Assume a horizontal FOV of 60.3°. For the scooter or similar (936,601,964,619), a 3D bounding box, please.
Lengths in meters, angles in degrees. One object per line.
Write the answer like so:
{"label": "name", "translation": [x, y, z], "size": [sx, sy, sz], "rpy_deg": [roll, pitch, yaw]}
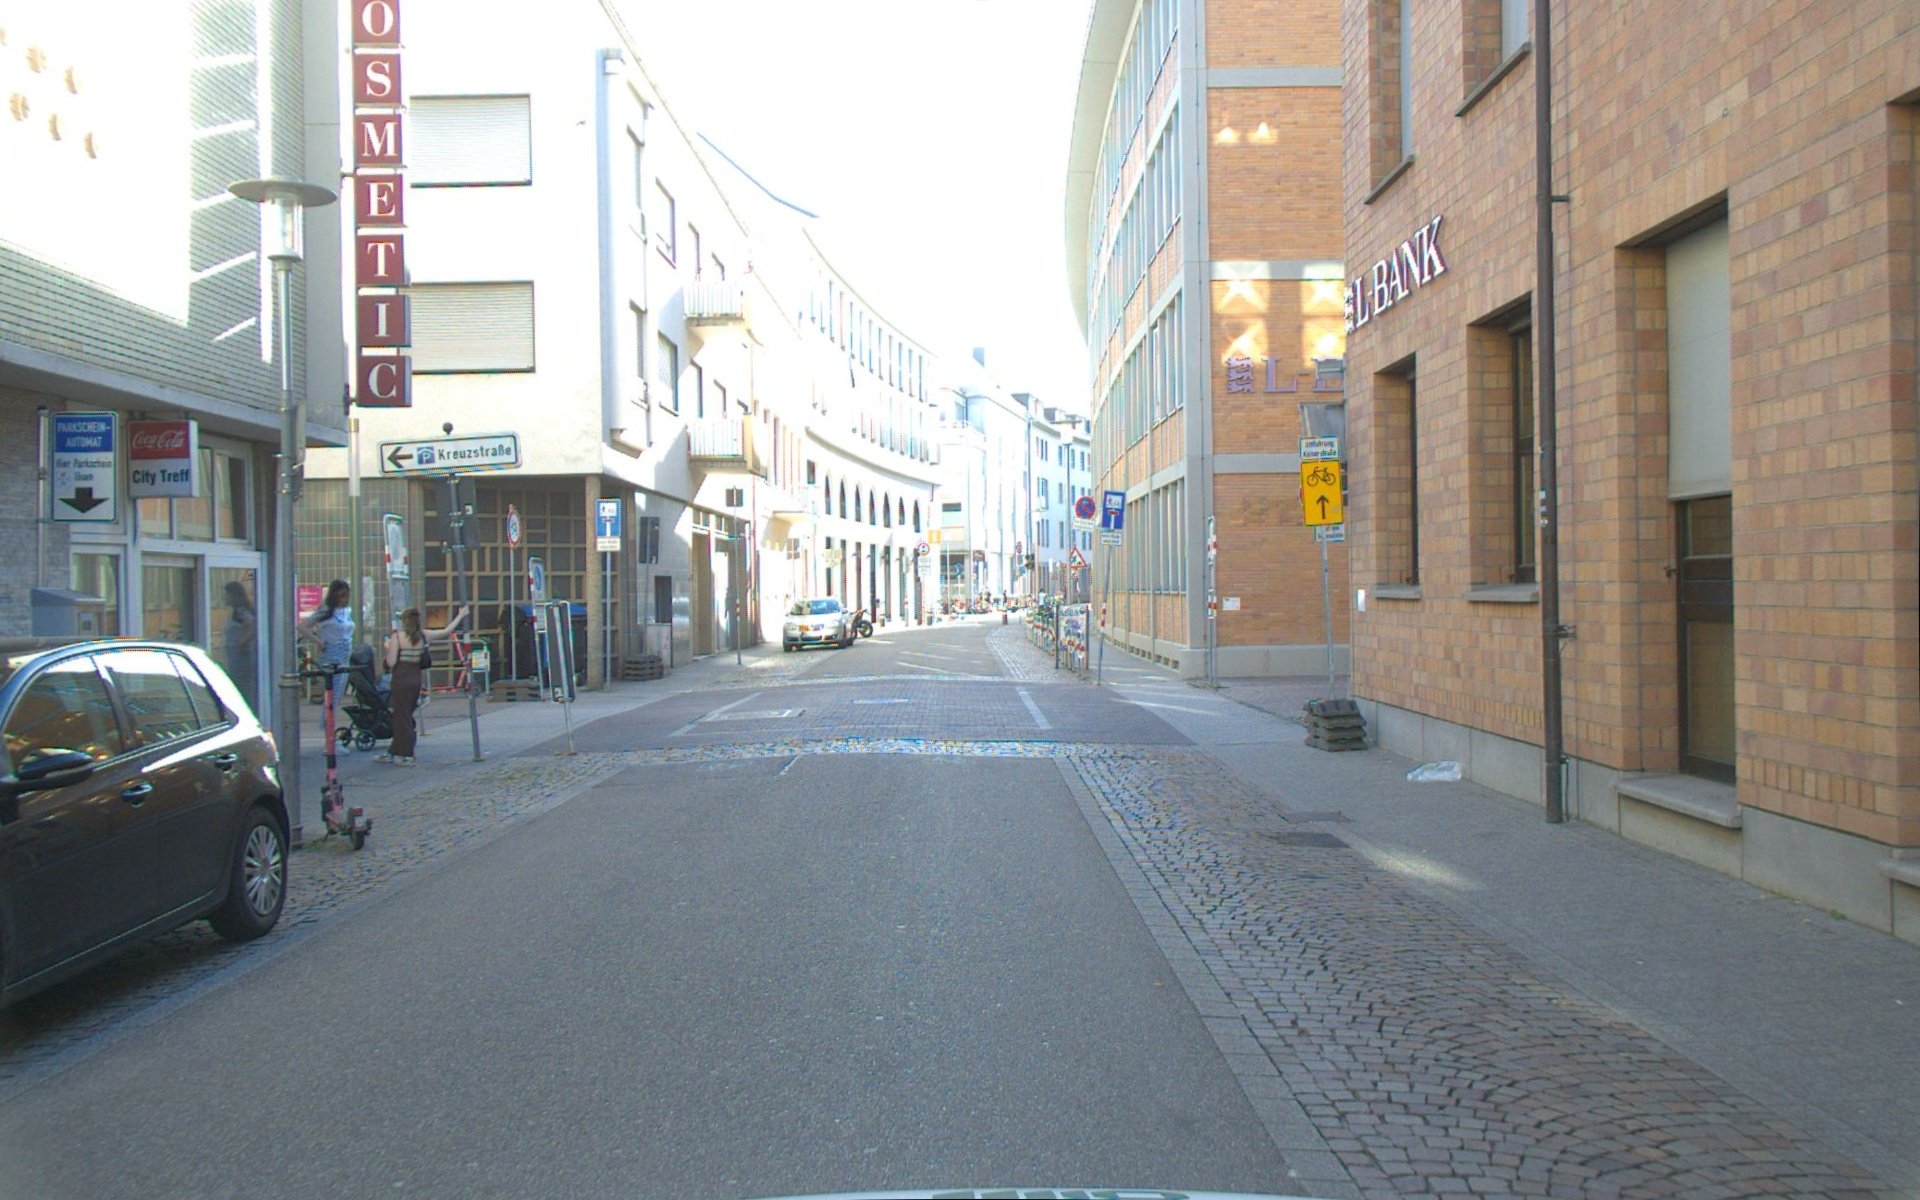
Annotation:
{"label": "scooter or similar", "translation": [-0.555, 0.546, 92.749], "size": [0.515, 0.944, 2.224], "rpy_deg": [0, 0, 29]}

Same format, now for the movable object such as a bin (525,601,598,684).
{"label": "movable object such as a bin", "translation": [-7.122, 0.747, 29.533], "size": [0.869, 1.444, 0.928], "rpy_deg": [0, -1, 43]}

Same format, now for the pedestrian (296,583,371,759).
{"label": "pedestrian", "translation": [-6.424, 0.715, 16.964], "size": [0.438, 1.769, 0.552], "rpy_deg": [-1, 0, 22]}

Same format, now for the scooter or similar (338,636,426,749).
{"label": "scooter or similar", "translation": [-6.280, 0.987, 17.964], "size": [0.781, 1.182, 0.629], "rpy_deg": [1, -1, -30]}

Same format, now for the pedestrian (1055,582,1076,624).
{"label": "pedestrian", "translation": [4.769, 0.144, 74.751], "size": [0.652, 1.901, 0.753], "rpy_deg": [1, -1, -30]}

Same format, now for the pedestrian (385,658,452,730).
{"label": "pedestrian", "translation": [-5.941, 1.020, 18.127], "size": [0.576, 0.727, 0.640], "rpy_deg": [-1, 0, -30]}

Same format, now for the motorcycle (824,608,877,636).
{"label": "motorcycle", "translation": [-3.582, 0.727, 54.121], "size": [1.655, 0.874, 0.595], "rpy_deg": [1, -1, 4]}

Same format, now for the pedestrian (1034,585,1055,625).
{"label": "pedestrian", "translation": [4.093, 0.257, 80.112], "size": [0.652, 1.901, 0.778], "rpy_deg": [1, -1, -30]}

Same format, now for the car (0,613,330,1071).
{"label": "car", "translation": [-4.037, 0.868, 6.387], "size": [1.615, 1.486, 3.999], "rpy_deg": [-3, 0, 0]}

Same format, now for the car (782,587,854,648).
{"label": "car", "translation": [-3.947, 0.453, 46.552], "size": [1.701, 1.634, 3.533], "rpy_deg": [0, 0, 0]}

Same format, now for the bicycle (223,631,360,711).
{"label": "bicycle", "translation": [-10.608, 1.121, 26.279], "size": [1.832, 1.178, 0.718], "rpy_deg": [-2, 0, 1]}

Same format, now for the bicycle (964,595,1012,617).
{"label": "bicycle", "translation": [1.796, 0.399, 107.108], "size": [3.022, 1.378, 0.702], "rpy_deg": [1, -1, 13]}

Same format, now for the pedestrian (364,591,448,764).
{"label": "pedestrian", "translation": [-5.451, 0.742, 16.280], "size": [0.641, 1.654, 0.450], "rpy_deg": [-1, 0, -42]}

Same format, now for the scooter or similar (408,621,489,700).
{"label": "scooter or similar", "translation": [-8.366, 0.982, 27.055], "size": [1.134, 1.228, 0.480], "rpy_deg": [-2, 0, 0]}

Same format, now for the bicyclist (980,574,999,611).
{"label": "bicyclist", "translation": [1.902, -0.480, 107.117], "size": [1.067, 2.431, 0.742], "rpy_deg": [1, -1, 12]}

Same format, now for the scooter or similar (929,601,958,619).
{"label": "scooter or similar", "translation": [-0.879, 0.532, 89.660], "size": [0.515, 0.944, 2.224], "rpy_deg": [0, 0, 29]}

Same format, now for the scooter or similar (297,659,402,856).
{"label": "scooter or similar", "translation": [-4.108, 1.022, 11.093], "size": [0.408, 1.218, 1.110], "rpy_deg": [-5, 1, -29]}

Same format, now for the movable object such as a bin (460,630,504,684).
{"label": "movable object such as a bin", "translation": [-8.325, 0.981, 28.821], "size": [0.516, 0.917, 0.534], "rpy_deg": [0, -1, 43]}

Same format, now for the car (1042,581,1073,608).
{"label": "car", "translation": [6.420, -0.382, 108.796], "size": [1.699, 1.634, 3.536], "rpy_deg": [-2, 0, 8]}

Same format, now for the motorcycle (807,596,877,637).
{"label": "motorcycle", "translation": [-4.112, 0.581, 57.877], "size": [2.342, 1.340, 0.862], "rpy_deg": [-2, 0, -1]}
